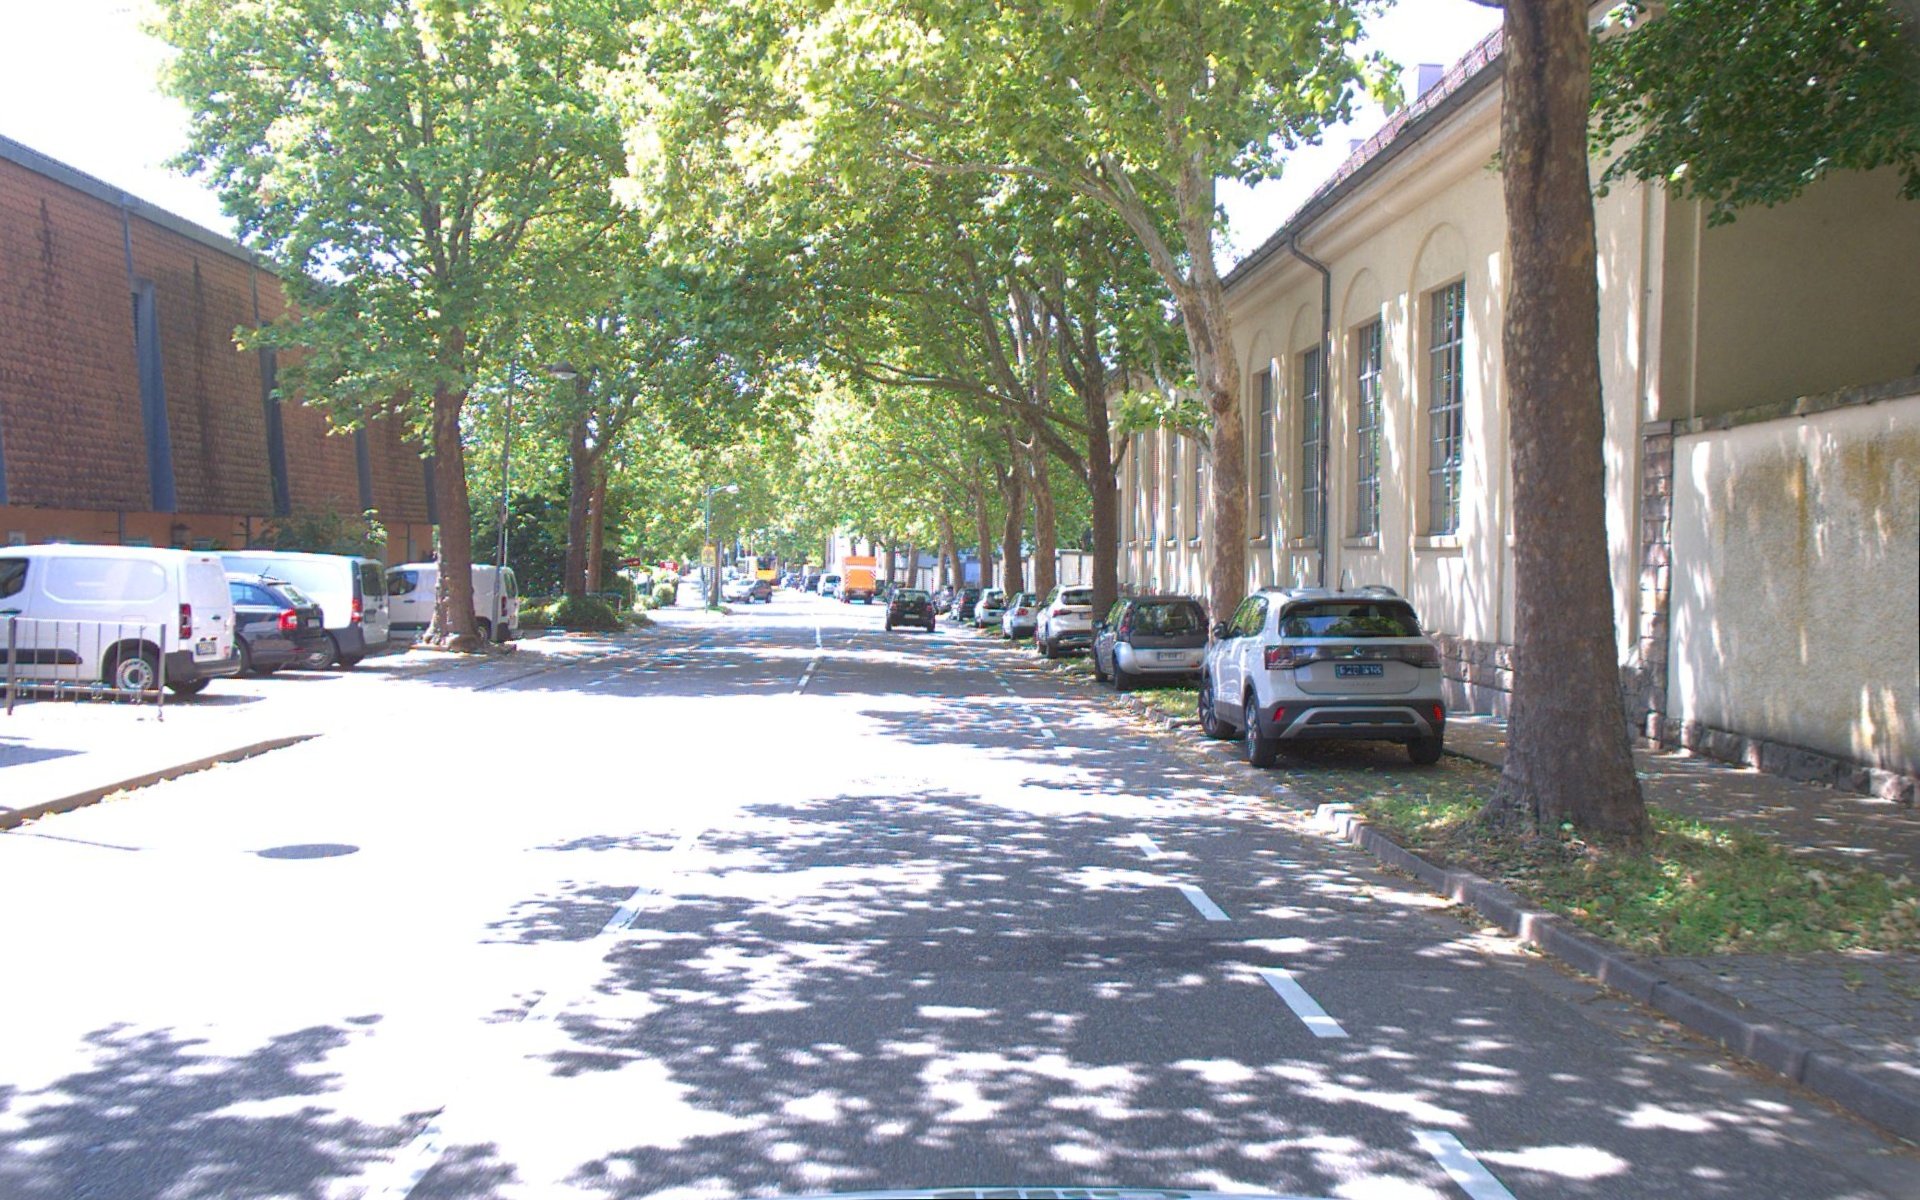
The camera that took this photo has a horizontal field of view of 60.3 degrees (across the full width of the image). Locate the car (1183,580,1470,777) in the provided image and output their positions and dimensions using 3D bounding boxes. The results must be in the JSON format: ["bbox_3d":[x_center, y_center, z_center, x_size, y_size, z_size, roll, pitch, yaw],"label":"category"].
[{"bbox_3d":[3.432,0.639,16.416,1.705,1.584,4.780,-1,1,-1],"label":"car"}]

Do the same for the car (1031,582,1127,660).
[{"bbox_3d":[2.775,0.461,39.640,1.771,1.718,4.750,-1,0,-2],"label":"car"}]

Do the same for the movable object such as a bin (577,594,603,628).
[{"bbox_3d":[-12.007,0.365,53.692,0.720,1.097,0.701,0,0,-3],"label":"movable object such as a bin"}]

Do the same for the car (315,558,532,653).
[{"bbox_3d":[-11.445,0.114,35.503,4.048,1.836,1.901,2,0,-5],"label":"car"}]

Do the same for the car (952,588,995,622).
[{"bbox_3d":[0.603,0.226,77.377,1.731,1.491,3.873,-1,1,-4],"label":"car"}]

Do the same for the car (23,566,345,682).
[{"bbox_3d":[-11.528,0.346,24.797,3.909,1.542,1.866,2,0,-5],"label":"car"}]

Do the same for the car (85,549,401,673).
[{"bbox_3d":[-11.735,0.181,27.320,4.337,1.836,1.901,2,0,-5],"label":"car"}]

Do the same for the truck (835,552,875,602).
[{"bbox_3d":[-7.189,-1.529,112.651,2.325,3.189,5.759,0,-1,-7],"label":"truck"}]

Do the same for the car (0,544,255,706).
[{"bbox_3d":[-11.011,0.267,20.278,3.909,1.824,1.866,2,0,-5],"label":"car"}]

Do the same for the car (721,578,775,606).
[{"bbox_3d":[-13.586,-0.512,106.218,1.951,1.695,4.002,0,-1,17],"label":"car"}]

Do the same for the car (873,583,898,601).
[{"bbox_3d":[-6.089,-0.645,135.132,1.733,1.398,3.724,-1,1,-7],"label":"car"}]

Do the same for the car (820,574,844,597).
[{"bbox_3d":[-10.405,-1.166,134.186,1.843,1.715,3.994,0,-1,-7],"label":"car"}]

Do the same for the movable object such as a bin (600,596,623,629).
[{"bbox_3d":[-11.327,0.392,53.747,0.611,1.066,0.620,0,0,-1],"label":"movable object such as a bin"}]

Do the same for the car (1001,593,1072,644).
[{"bbox_3d":[2.271,0.529,50.265,1.731,1.458,3.873,-1,1,-4],"label":"car"}]

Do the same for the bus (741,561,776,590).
[{"bbox_3d":[-23.269,-2.818,190.620,2.619,3.205,11.155,0,0,-14],"label":"bus"}]

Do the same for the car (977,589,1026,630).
[{"bbox_3d":[1.593,0.348,64.854,1.546,1.491,3.873,-1,1,-4],"label":"car"}]

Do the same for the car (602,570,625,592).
[{"bbox_3d":[-33.561,-1.817,160.083,1.960,2.049,3.984,0,-1,-15],"label":"car"}]

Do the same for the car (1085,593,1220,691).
[{"bbox_3d":[3.150,0.638,27.862,1.588,1.465,4.431,-1,1,-2],"label":"car"}]

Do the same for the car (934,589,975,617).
[{"bbox_3d":[-0.332,0.129,87.006,1.733,1.398,3.724,-1,1,-7],"label":"car"}]

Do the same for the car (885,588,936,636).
[{"bbox_3d":[-1.758,0.400,57.338,1.677,1.472,4.056,0,2,-3],"label":"car"}]

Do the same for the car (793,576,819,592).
[{"bbox_3d":[-13.858,-1.441,148.404,1.737,1.398,3.715,-1,1,-15],"label":"car"}]

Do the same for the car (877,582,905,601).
[{"bbox_3d":[-5.130,-0.611,122.608,1.733,1.398,3.724,1,0,-7],"label":"car"}]

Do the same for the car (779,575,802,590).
[{"bbox_3d":[-16.687,-1.719,162.721,1.737,1.398,3.716,-1,1,-14],"label":"car"}]
